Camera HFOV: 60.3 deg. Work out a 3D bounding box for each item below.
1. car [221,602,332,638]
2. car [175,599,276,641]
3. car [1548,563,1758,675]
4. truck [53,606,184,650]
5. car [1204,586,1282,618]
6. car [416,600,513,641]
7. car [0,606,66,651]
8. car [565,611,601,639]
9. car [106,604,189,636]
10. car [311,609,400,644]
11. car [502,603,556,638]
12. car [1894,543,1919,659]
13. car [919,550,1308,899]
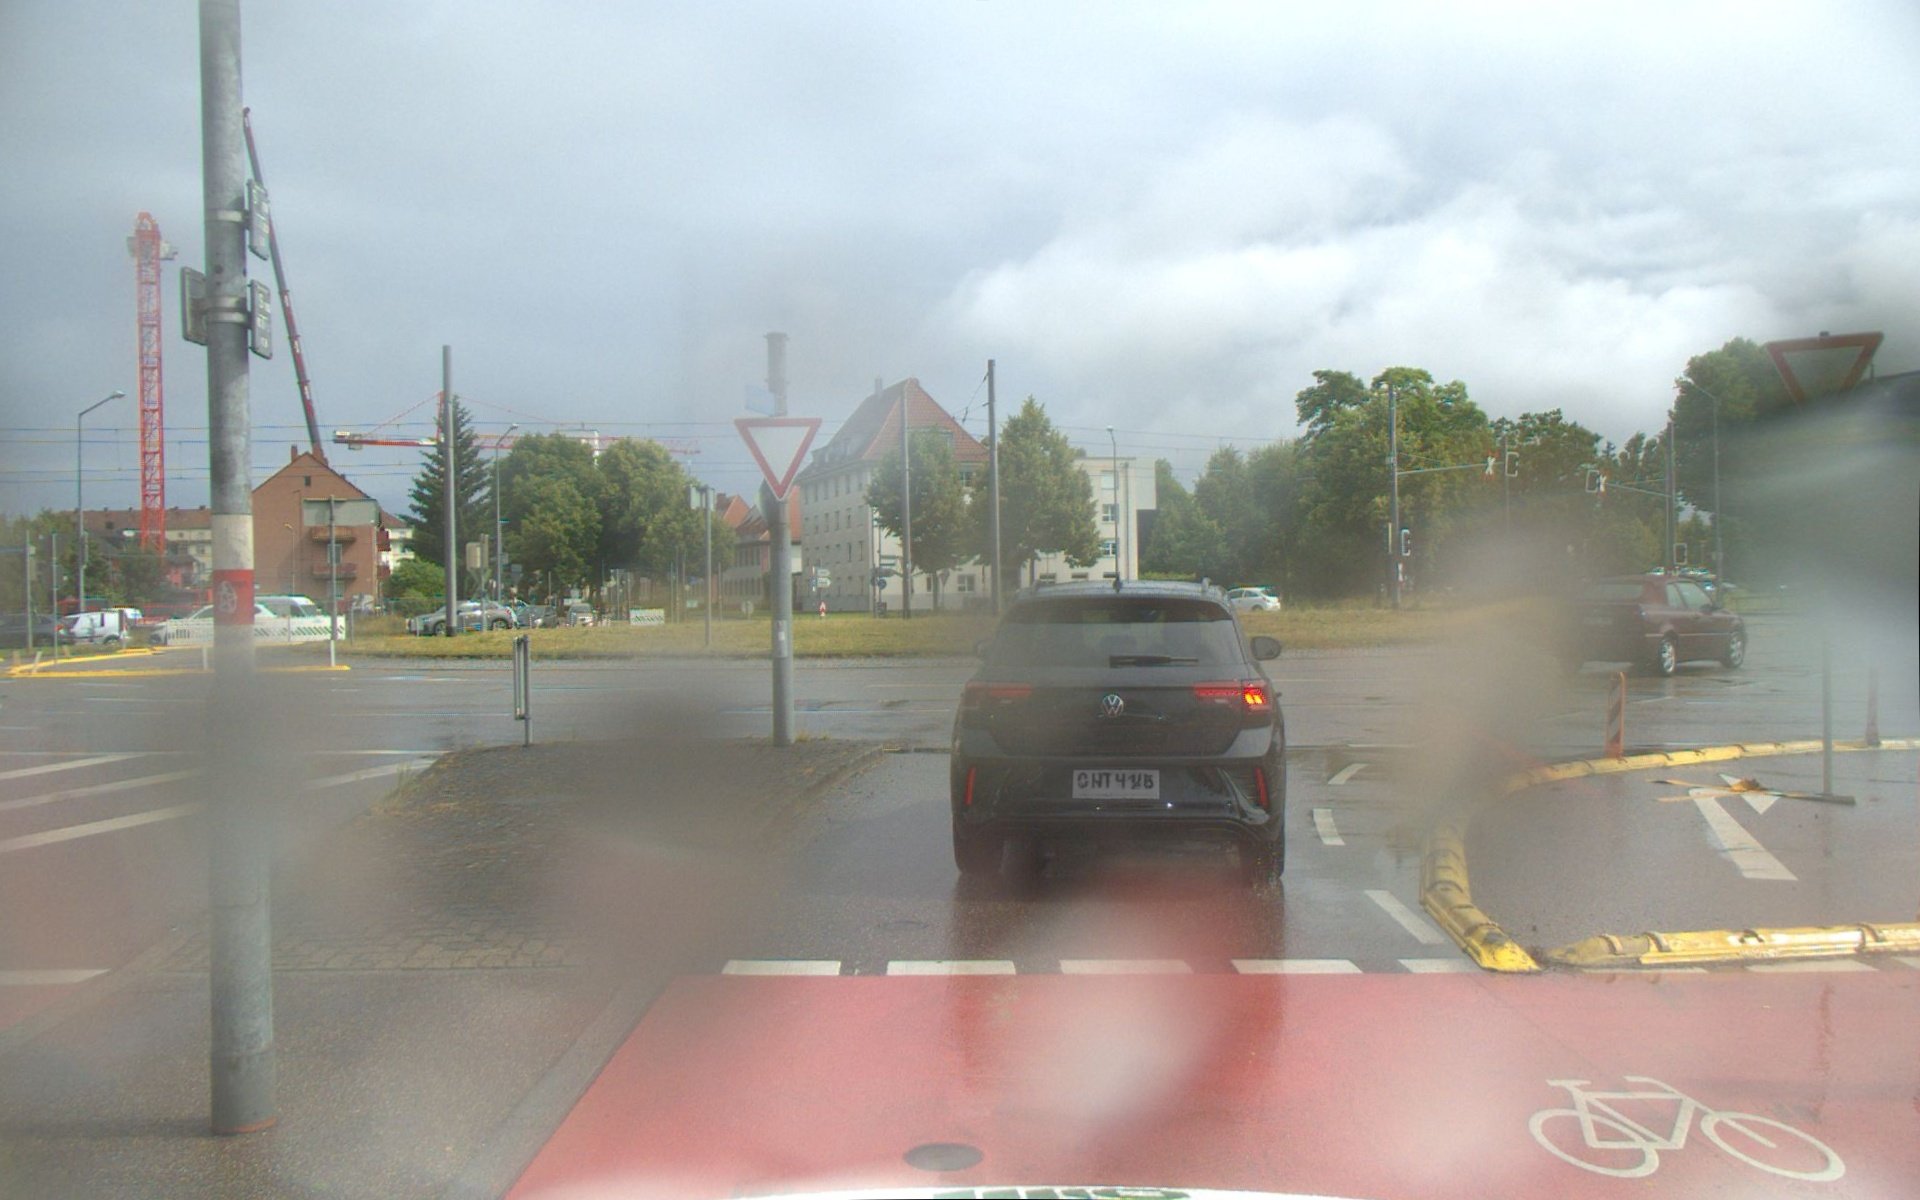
[{"bbox_3d":[-42.389,1.206,102.636,6.112,2.121,2.044,1,0,7],"label":"car"},{"bbox_3d":[-28.562,0.756,64.306,3.452,1.536,1.485,-1,1,-30],"label":"car"},{"bbox_3d":[10.613,0.243,25.190,1.690,1.488,3.975,-1,1,43],"label":"car"},{"bbox_3d":[-45.194,1.474,88.901,5.951,2.250,2.399,1,0,9],"label":"truck"},{"bbox_3d":[13.870,0.105,81.200,3.430,1.479,1.544,-1,1,36],"label":"car"},{"bbox_3d":[-21.014,0.852,70.256,1.547,1.588,3.653,0,1,44],"label":"car"},{"bbox_3d":[-35.335,1.069,61.057,3.936,1.543,1.789,-2,1,-25],"label":"car"},{"bbox_3d":[-22.177,1.454,97.311,1.514,1.588,3.497,-1,0,-4],"label":"car"},{"bbox_3d":[-47.315,1.158,96.353,3.903,1.730,1.931,1,0,4],"label":"car"},{"bbox_3d":[-31.734,1.391,86.881,1.958,1.713,3.989,-1,1,33],"label":"car"},{"bbox_3d":[-21.199,0.967,81.490,1.756,1.612,3.998,-1,1,-3],"label":"car"},{"bbox_3d":[17.034,-0.028,25.343,4.446,1.793,1.866,-1,1,-3],"label":"car"},{"bbox_3d":[0.984,0.591,9.967,1.857,1.646,4.003,1,0,7],"label":"car"}]
